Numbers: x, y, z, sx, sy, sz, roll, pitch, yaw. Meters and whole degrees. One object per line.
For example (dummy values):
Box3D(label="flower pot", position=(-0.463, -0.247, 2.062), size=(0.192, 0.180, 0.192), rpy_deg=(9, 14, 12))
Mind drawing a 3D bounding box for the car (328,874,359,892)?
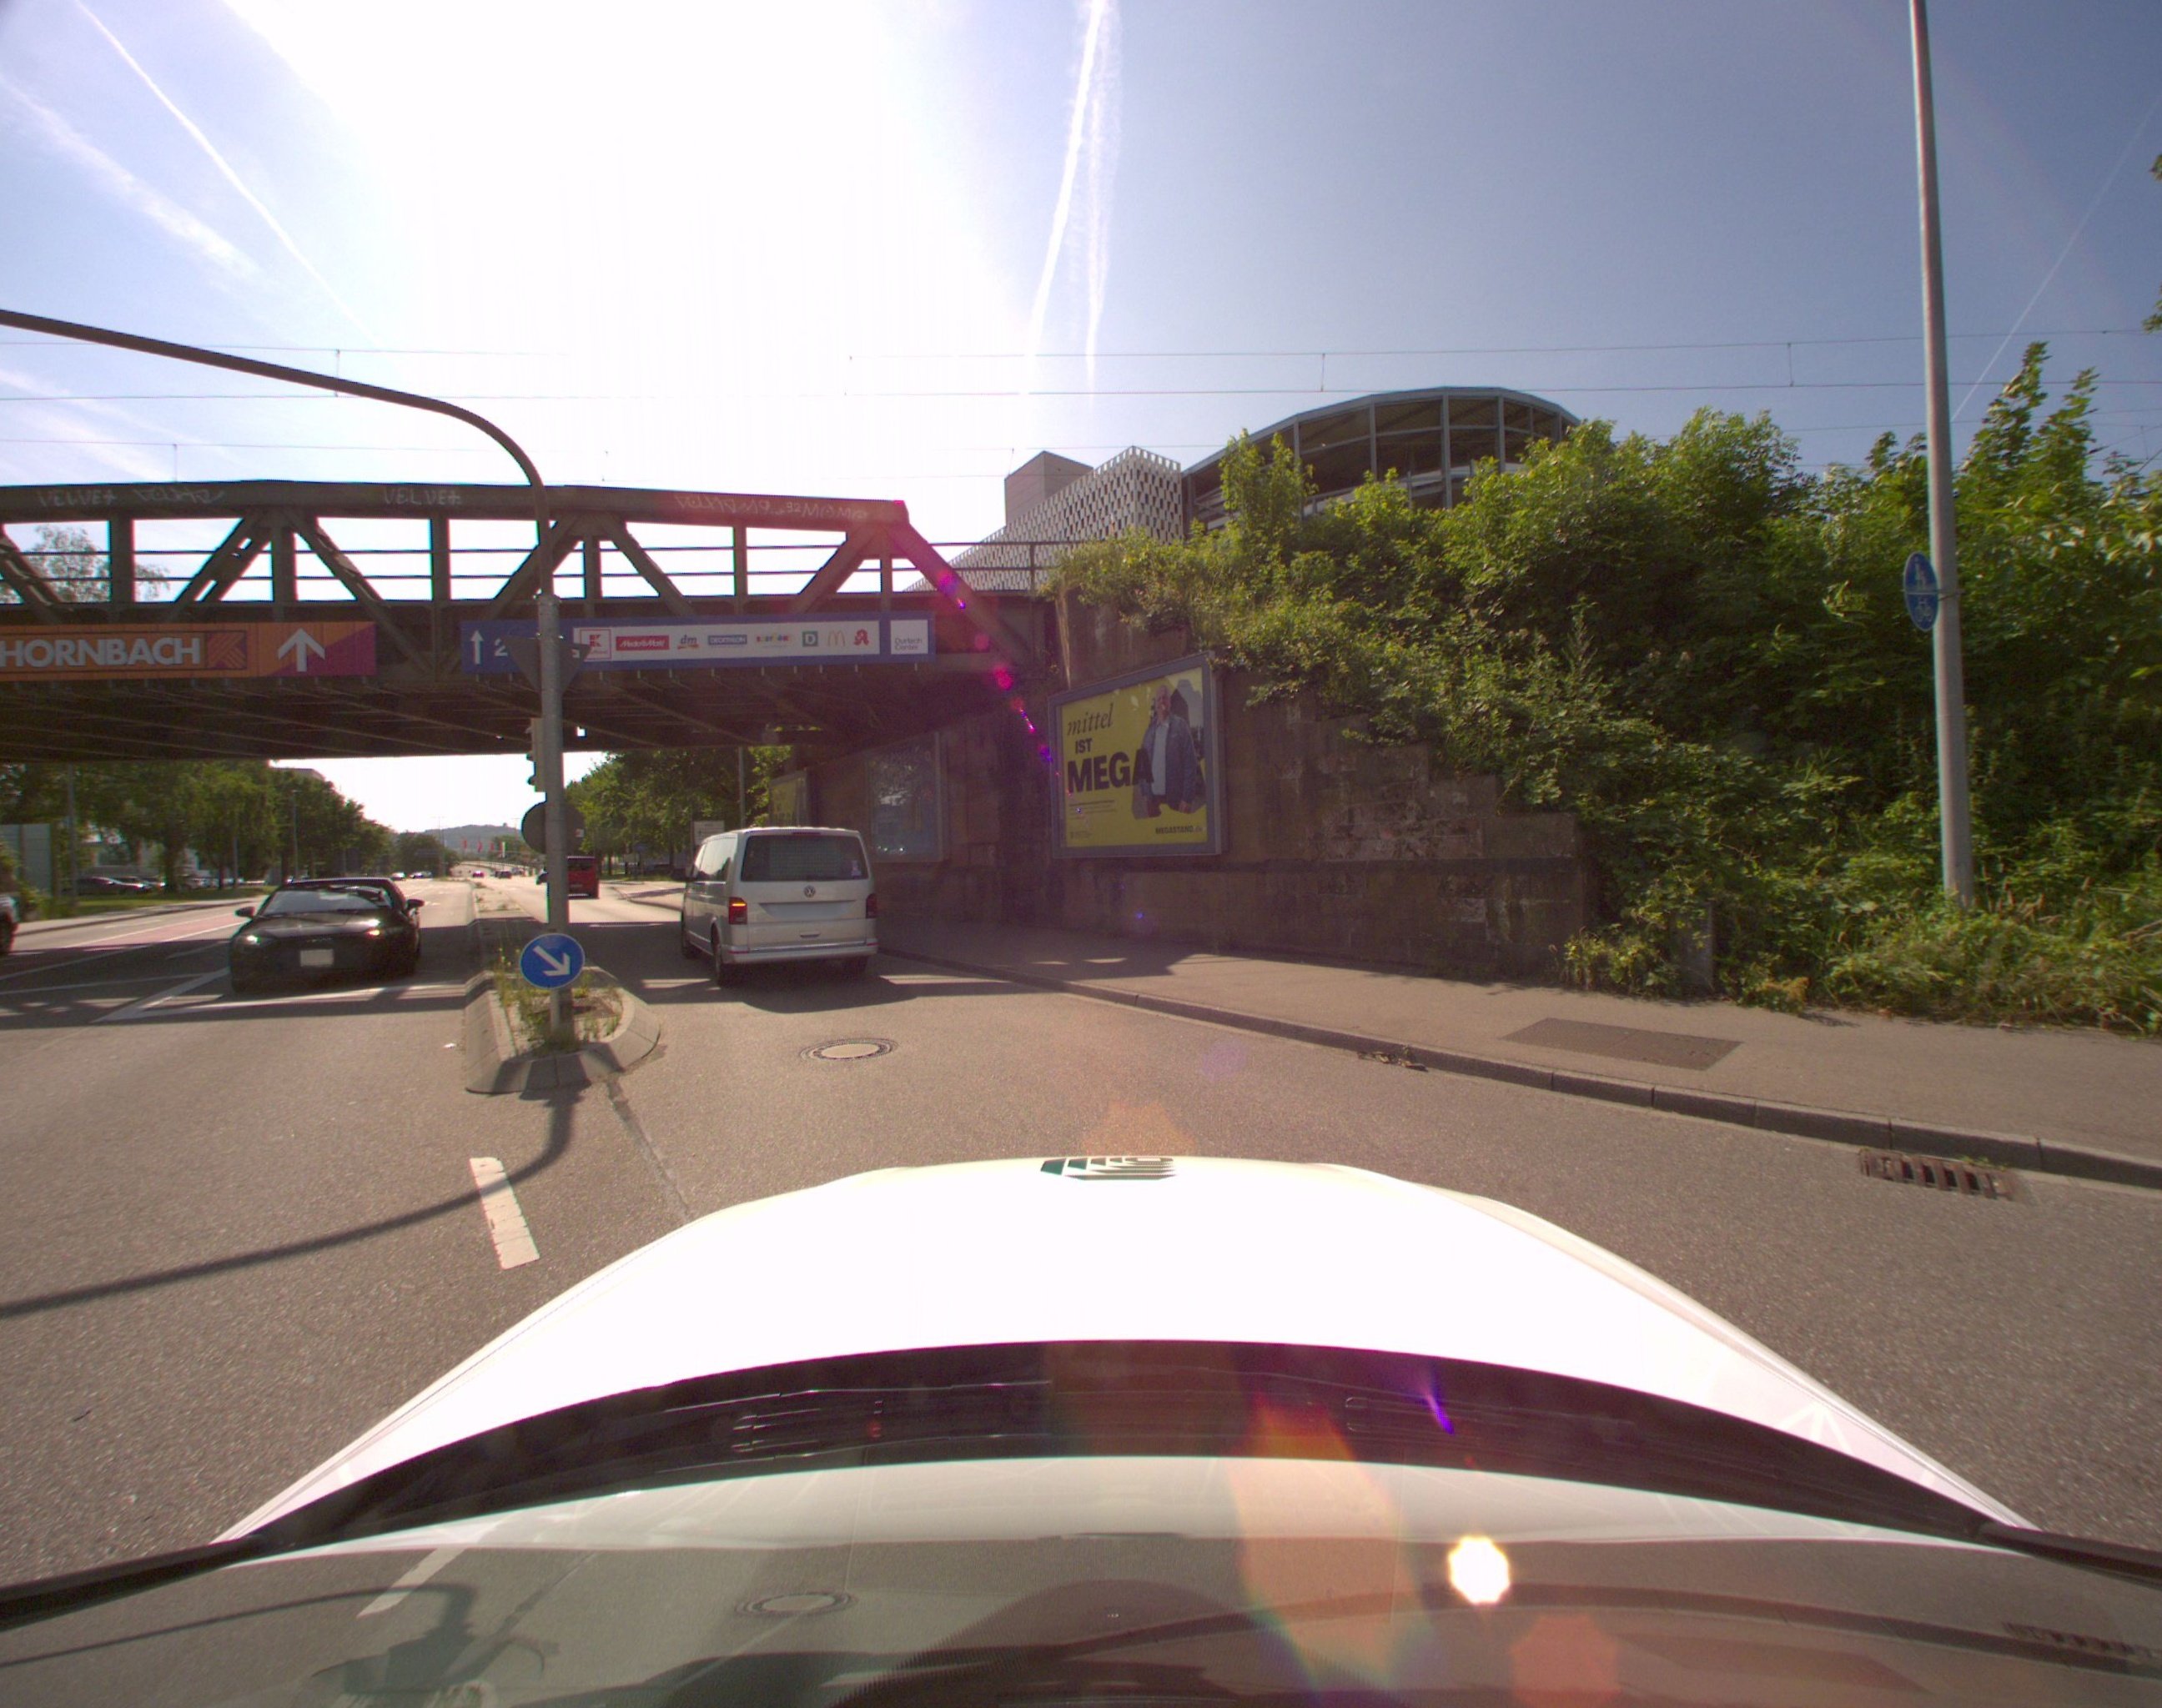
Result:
Box3D(label="car", position=(-68.540, 2.646, 75.720), size=(1.985, 1.492, 4.034), rpy_deg=(-2, 0, -40))

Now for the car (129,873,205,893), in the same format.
Box3D(label="car", position=(-79.661, 2.501, 71.067), size=(4.276, 1.547, 1.843), rpy_deg=(-2, 0, -44))

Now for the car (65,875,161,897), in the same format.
Box3D(label="car", position=(-70.135, 2.295, 59.094), size=(4.276, 1.344, 1.975), rpy_deg=(-2, 0, -44))

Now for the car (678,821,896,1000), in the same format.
Box3D(label="car", position=(-4.407, 0.607, 11.617), size=(1.954, 1.971, 4.972), rpy_deg=(-1, 0, -31))

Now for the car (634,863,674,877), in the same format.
Box3D(label="car", position=(-48.082, 1.750, 91.735), size=(3.829, 1.416, 1.683), rpy_deg=(-2, 0, -36))

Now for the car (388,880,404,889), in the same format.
Box3D(label="car", position=(-115.364, 5.126, 137.170), size=(1.985, 1.492, 4.034), rpy_deg=(-2, 0, -40))

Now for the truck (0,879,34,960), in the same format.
Box3D(label="truck", position=(-24.908, 1.556, 17.226), size=(2.043, 1.819, 5.265), rpy_deg=(-5, 2, -38))

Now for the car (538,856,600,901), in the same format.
Box3D(label="car", position=(-24.516, 1.135, 38.900), size=(1.984, 1.924, 4.508), rpy_deg=(-2, 0, -38))

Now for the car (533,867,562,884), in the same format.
Box3D(label="car", position=(-48.980, 1.939, 74.735), size=(1.801, 1.397, 4.275), rpy_deg=(-2, 0, -39))

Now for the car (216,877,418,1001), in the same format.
Box3D(label="car", position=(-10.956, 1.076, 11.972), size=(1.780, 1.395, 4.285), rpy_deg=(-2, 0, -38))
